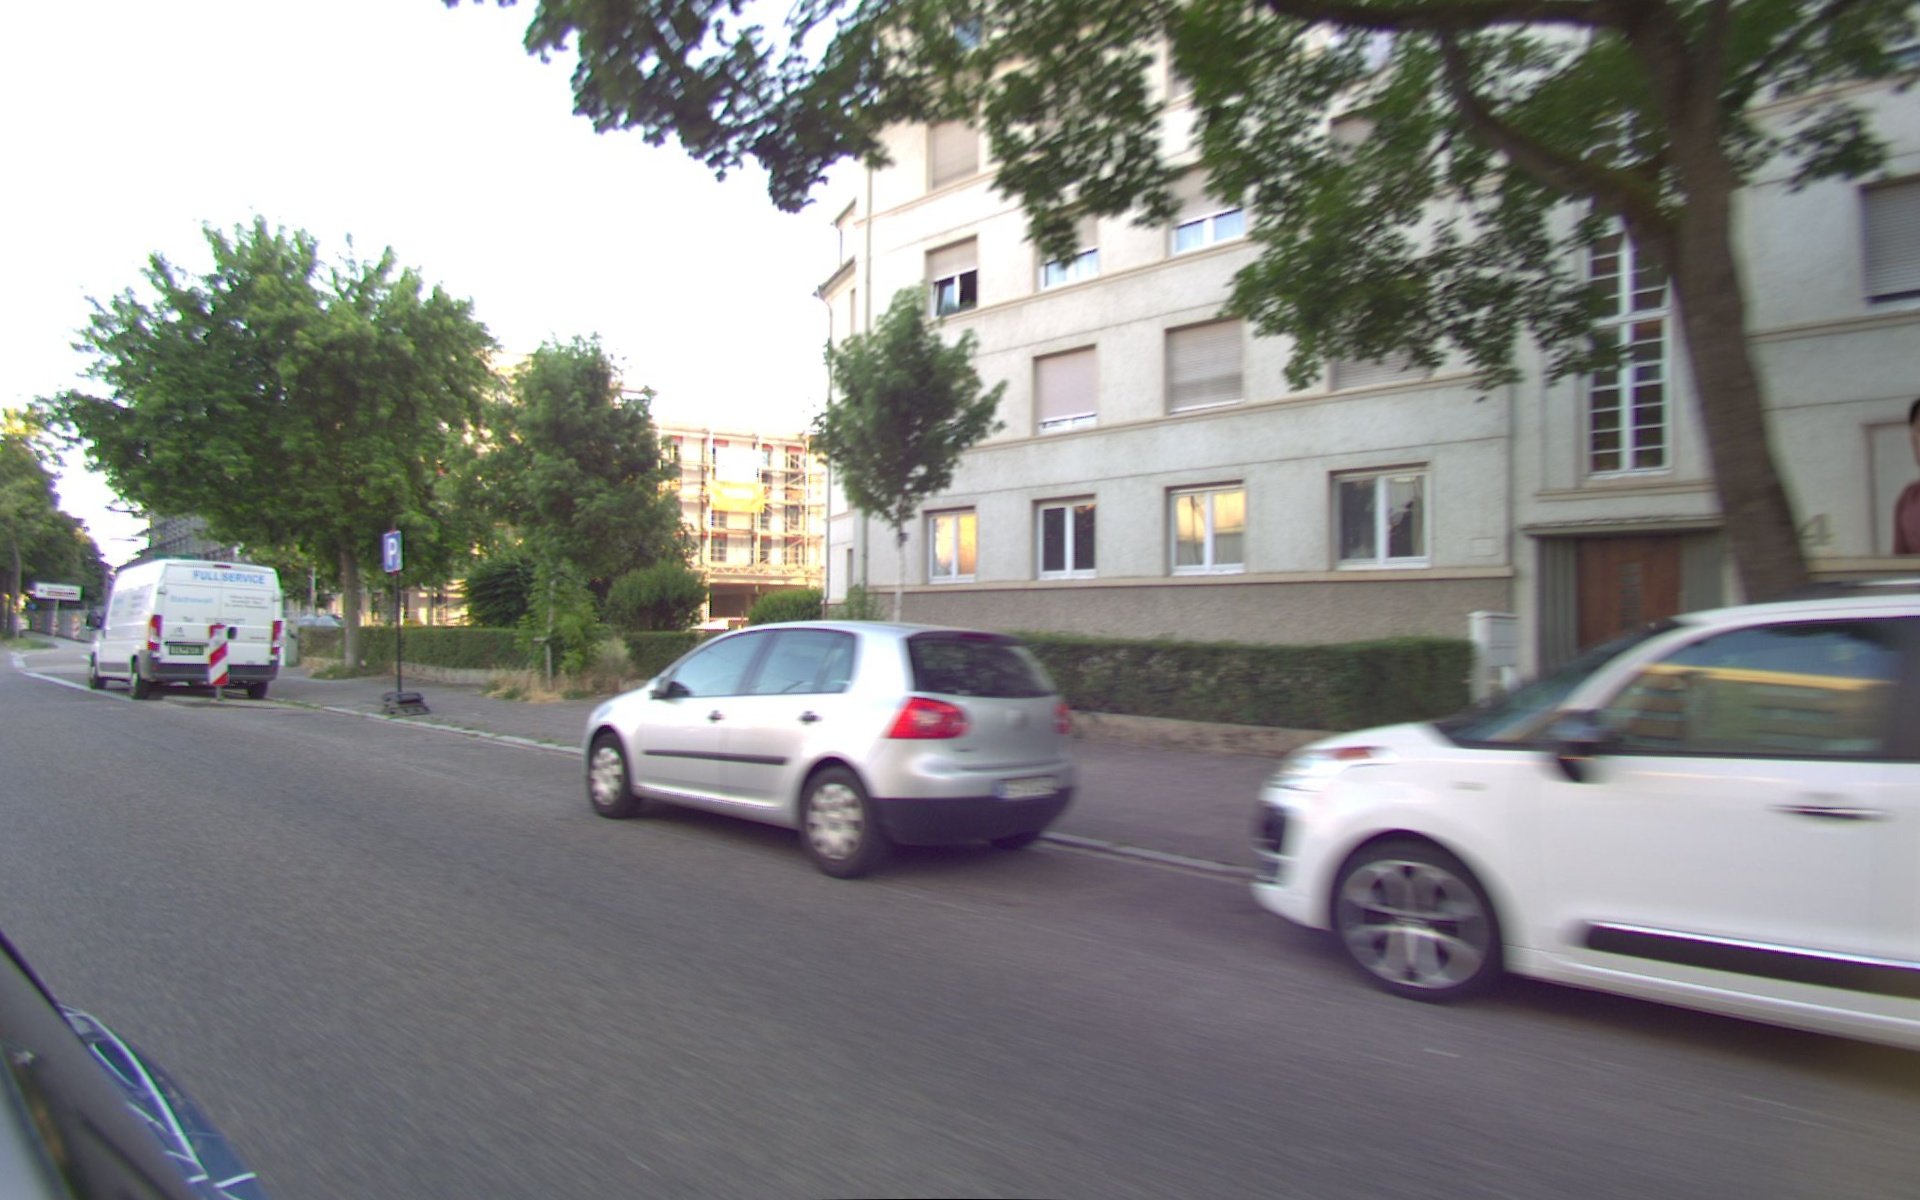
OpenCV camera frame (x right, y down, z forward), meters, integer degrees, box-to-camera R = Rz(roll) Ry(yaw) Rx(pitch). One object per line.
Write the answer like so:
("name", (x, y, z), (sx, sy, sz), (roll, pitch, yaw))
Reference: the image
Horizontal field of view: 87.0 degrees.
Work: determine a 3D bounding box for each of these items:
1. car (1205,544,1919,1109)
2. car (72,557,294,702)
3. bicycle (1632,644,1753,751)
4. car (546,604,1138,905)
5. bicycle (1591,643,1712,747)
("car", (3.203, 0.722, 3.771), (4.103, 1.644, 1.735), (-1, -5, 40))
("car", (-15.483, 0.627, 20.018), (6.099, 2.480, 2.156), (-1, -5, 41))
("bicycle", (7.956, 1.012, 10.964), (1.787, 1.051, 0.559), (1, -2, -37))
("car", (-1.039, 0.863, 7.094), (4.223, 1.483, 1.733), (-1, -5, 42))
("bicycle", (7.681, 1.017, 11.218), (1.787, 1.051, 0.559), (1, -2, -37))
